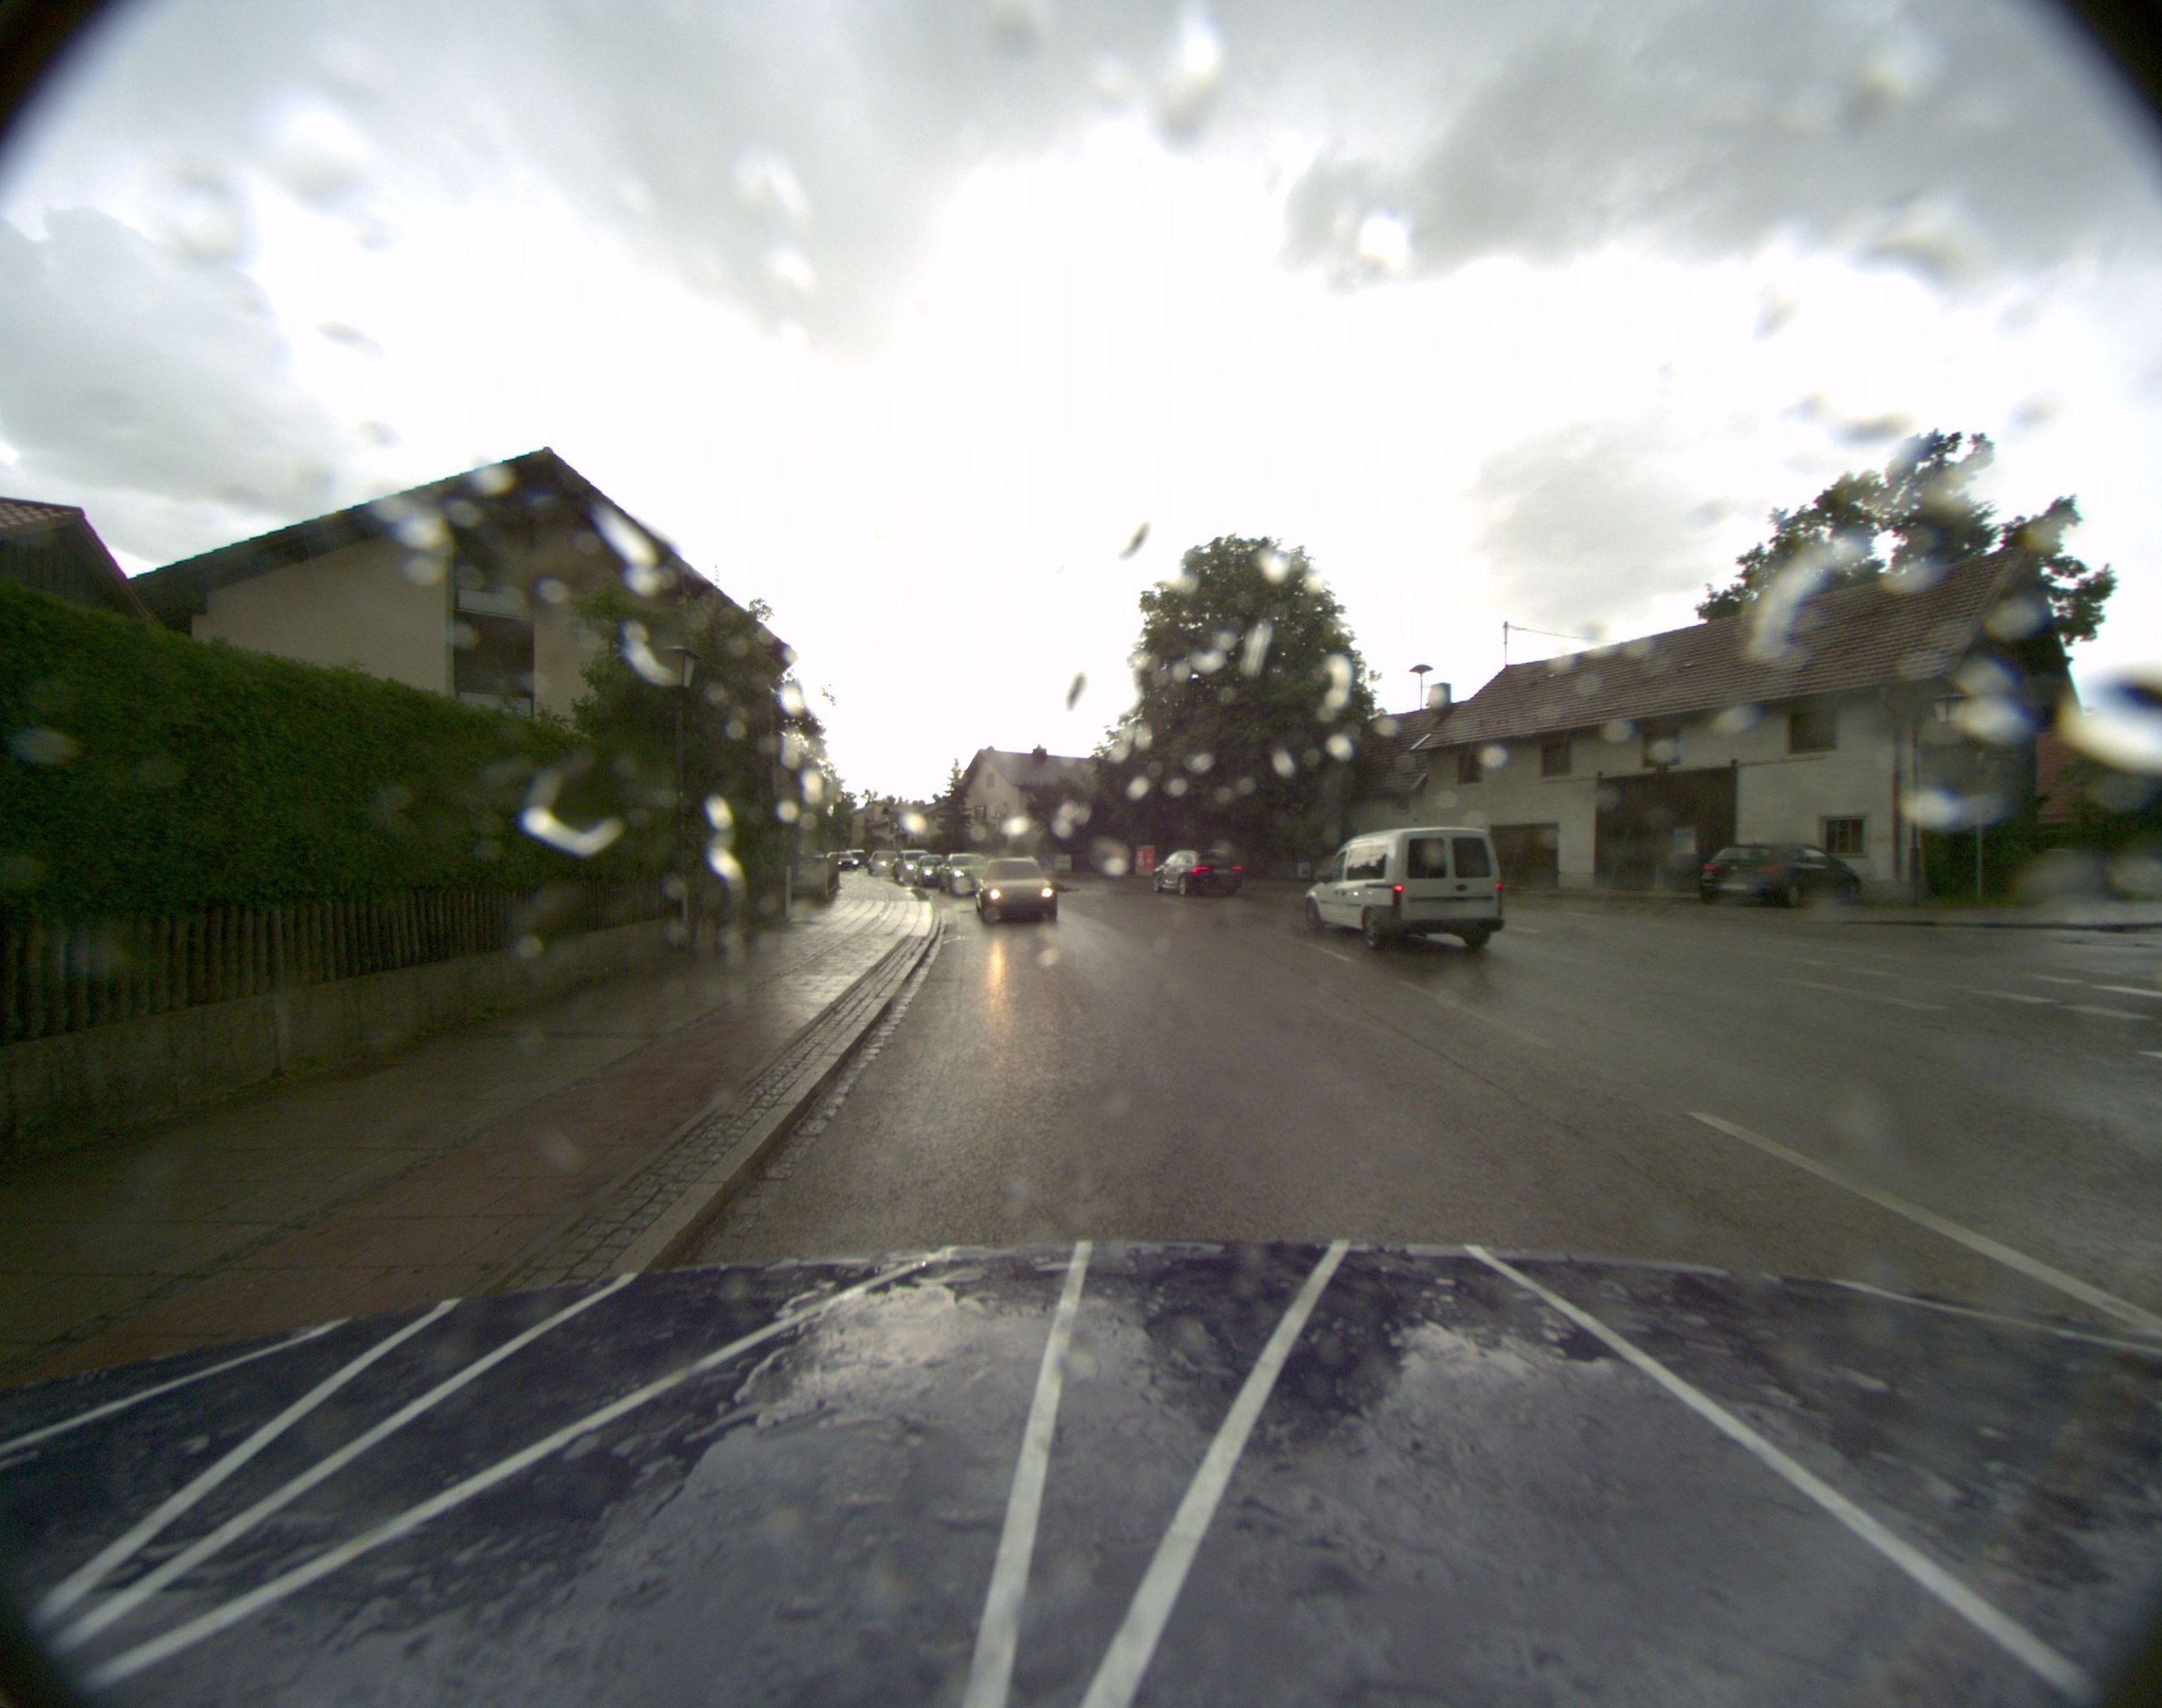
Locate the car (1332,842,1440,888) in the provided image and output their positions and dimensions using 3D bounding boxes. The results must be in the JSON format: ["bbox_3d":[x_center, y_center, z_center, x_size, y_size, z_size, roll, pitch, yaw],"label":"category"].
[{"bbox_3d":[11.029,0.399,27.363,4.290,1.539,1.812,1,0,-41],"label":"car"}]

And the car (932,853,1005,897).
[{"bbox_3d":[-4.533,0.741,29.858,1.796,1.471,5.376,-3,1,-20],"label":"car"}]

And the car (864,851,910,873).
[{"bbox_3d":[-13.051,0.508,51.004,1.798,1.365,4.271,-3,1,-31],"label":"car"}]

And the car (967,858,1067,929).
[{"bbox_3d":[-1.695,0.875,18.717,1.796,1.387,4.275,-2,1,-13],"label":"car"}]

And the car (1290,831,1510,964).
[{"bbox_3d":[4.868,0.568,12.323,1.644,1.755,4.329,-1,1,-2],"label":"car"}]

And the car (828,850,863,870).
[{"bbox_3d":[-19.438,0.475,62.623,1.798,1.539,4.271,-3,1,-31],"label":"car"}]

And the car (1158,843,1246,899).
[{"bbox_3d":[3.882,0.496,25.219,1.789,1.653,4.443,-1,1,-6],"label":"car"}]

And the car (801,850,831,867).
[{"bbox_3d":[-25.431,0.400,72.932,1.798,1.539,4.270,-3,1,-31],"label":"car"}]

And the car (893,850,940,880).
[{"bbox_3d":[-9.120,0.564,41.909,1.797,1.539,4.273,-3,1,-22],"label":"car"}]

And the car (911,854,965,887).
[{"bbox_3d":[-6.838,0.728,36.029,1.796,1.387,4.273,-3,1,-20],"label":"car"}]

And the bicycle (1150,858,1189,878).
[{"bbox_3d":[4.320,0.670,37.174,0.665,0.897,1.869,-2,1,-42],"label":"bicycle"}]

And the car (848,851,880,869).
[{"bbox_3d":[-20.320,0.593,71.017,2.003,1.586,4.182,-2,1,-29],"label":"car"}]

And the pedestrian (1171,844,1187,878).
[{"bbox_3d":[4.617,0.332,35.909,0.652,1.619,0.479,-1,1,19],"label":"pedestrian"}]

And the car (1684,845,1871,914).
[{"bbox_3d":[16.573,0.536,18.055,4.287,1.428,1.817,-1,1,-26],"label":"car"}]
